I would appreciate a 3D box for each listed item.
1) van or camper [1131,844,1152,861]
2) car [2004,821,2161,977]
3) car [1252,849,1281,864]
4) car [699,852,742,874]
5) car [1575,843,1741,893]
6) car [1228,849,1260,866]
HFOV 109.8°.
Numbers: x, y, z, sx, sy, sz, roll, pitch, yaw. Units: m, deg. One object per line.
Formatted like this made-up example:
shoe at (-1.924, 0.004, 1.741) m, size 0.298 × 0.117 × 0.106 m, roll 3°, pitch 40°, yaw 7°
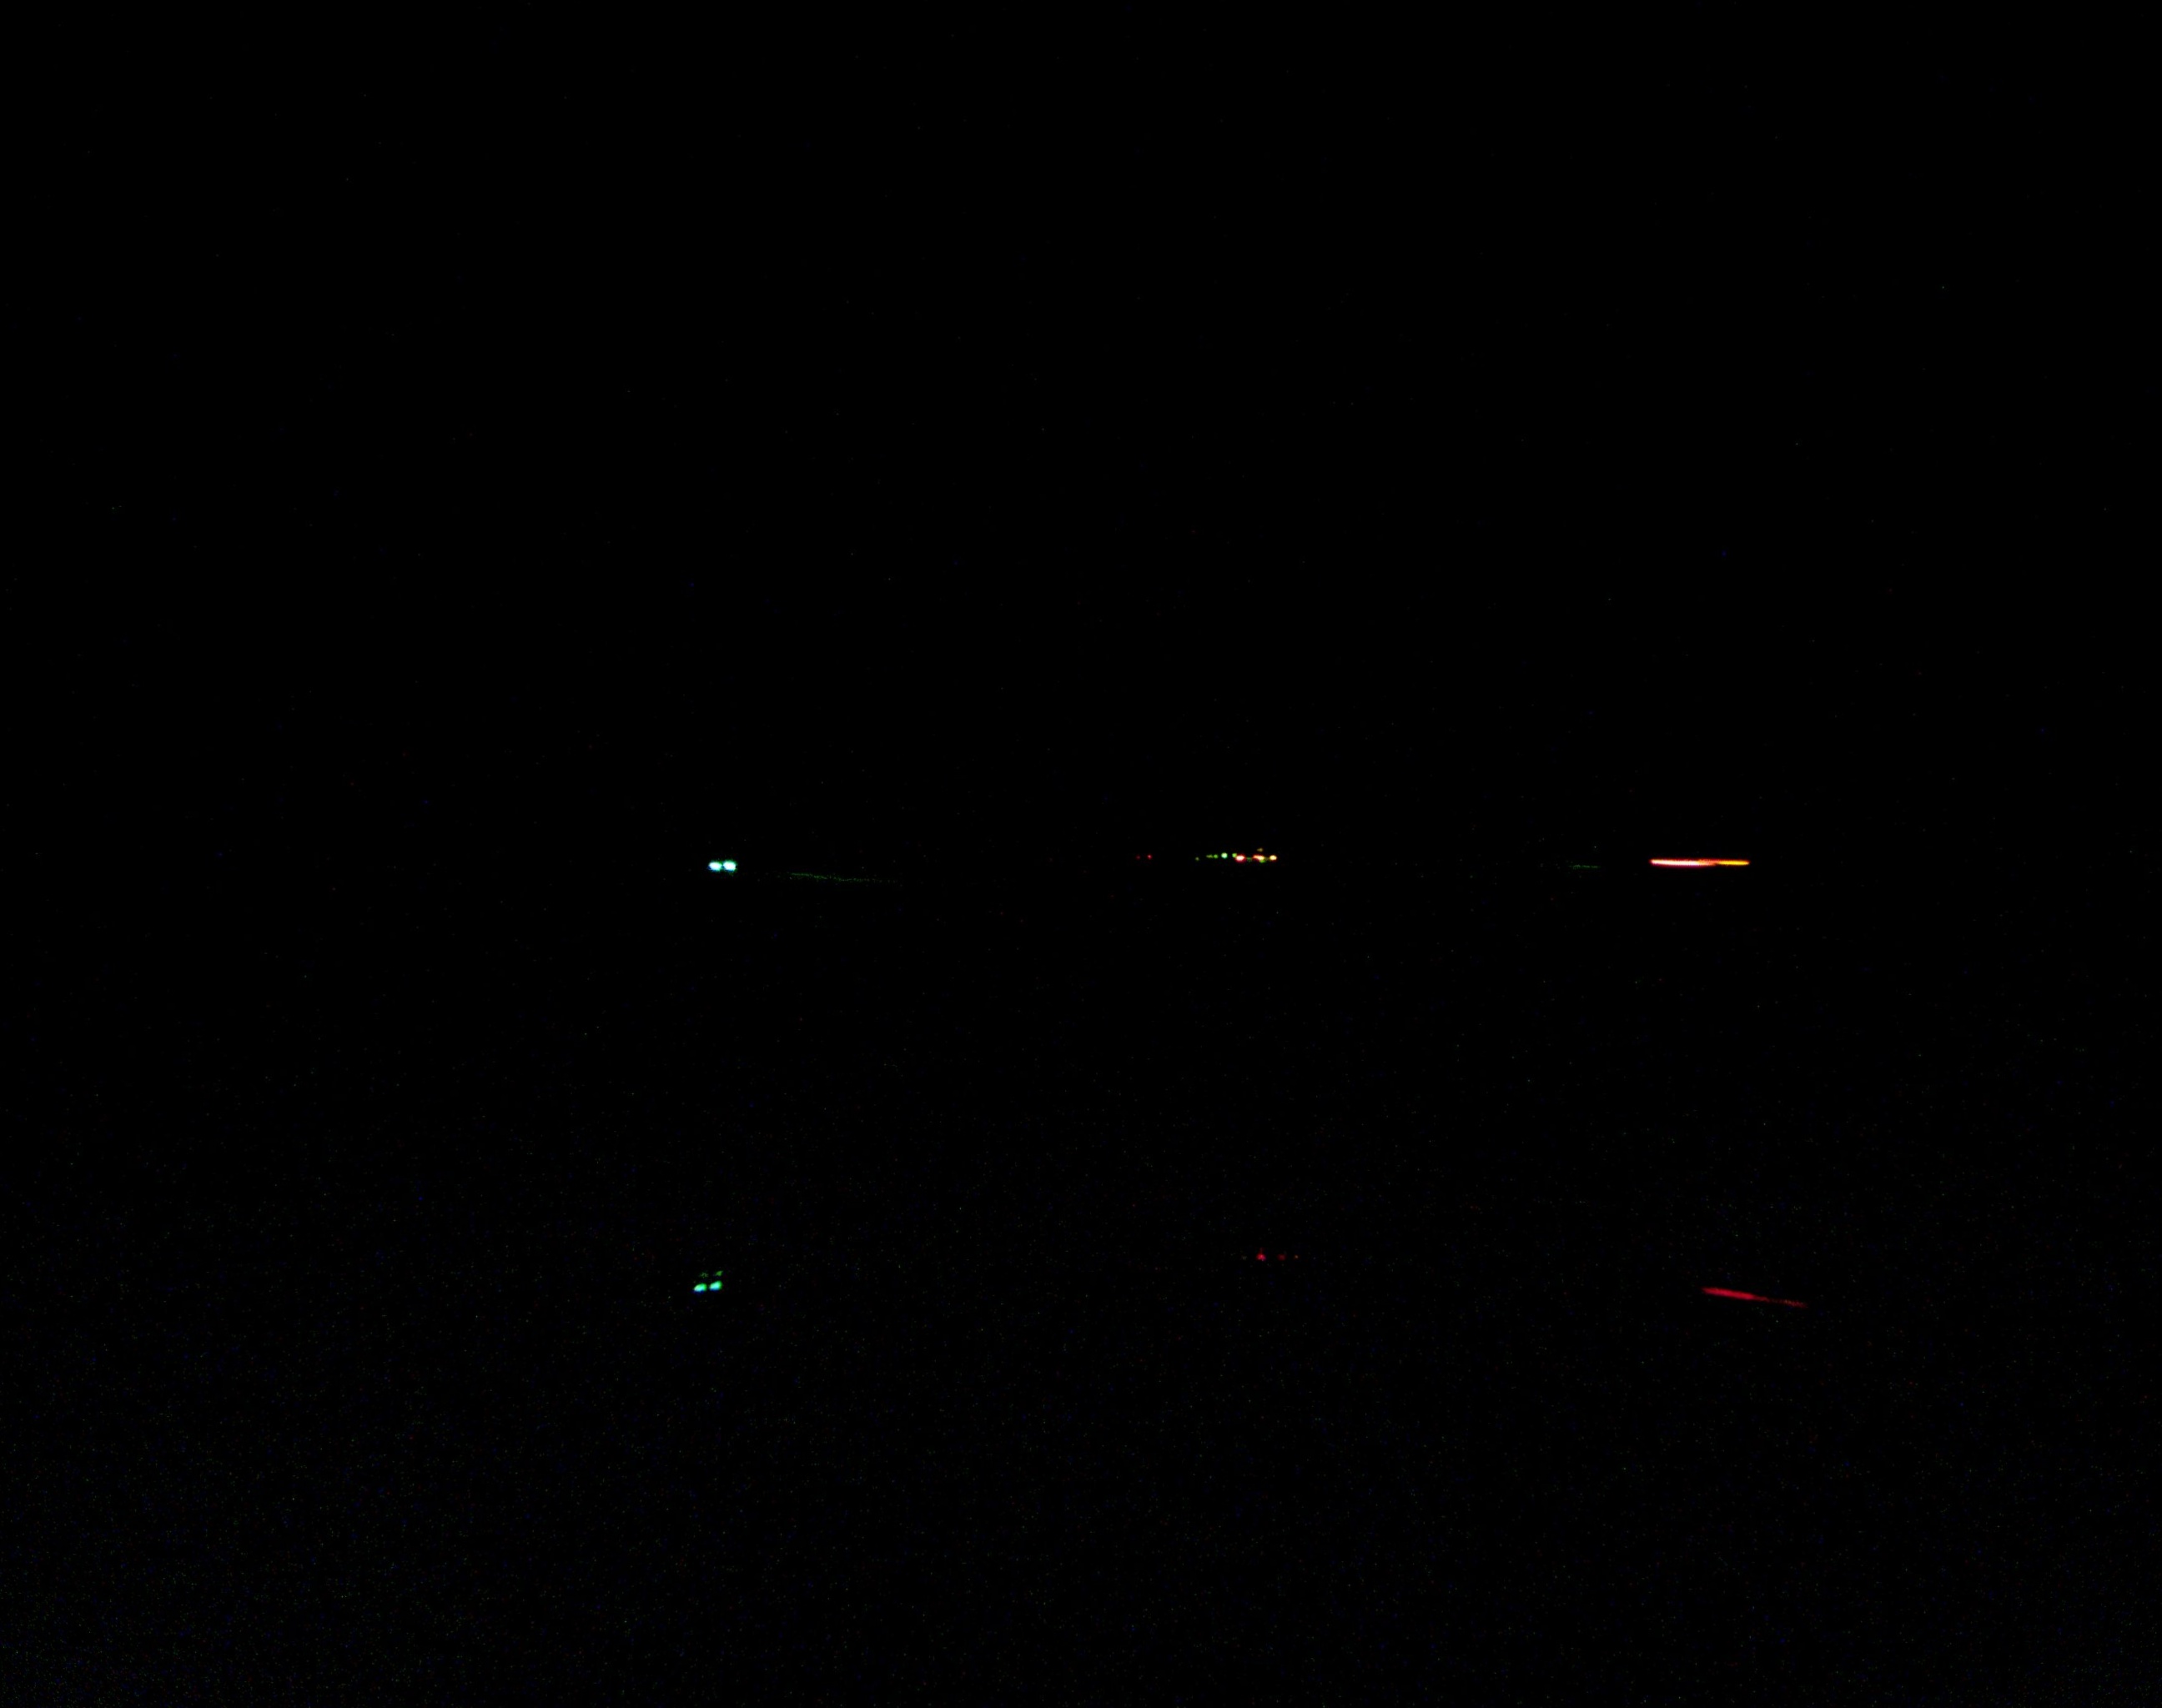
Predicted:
van or camper at (9.634, -0.307, 121.675) m, size 2.301 × 2.602 × 7.662 m, roll -1°, pitch 0°, yaw -4°
car at (12.919, 0.494, 7.324) m, size 1.962 × 1.723 × 5.079 m, roll -1°, pitch 0°, yaw 2°
car at (18.864, 0.272, 77.478) m, size 1.962 × 1.448 × 4.170 m, roll -1°, pitch 0°, yaw 2°
car at (-34.424, 0.865, 72.582) m, size 3.989 × 1.843 × 2.004 m, roll -3°, pitch 1°, yaw 38°
car at (19.013, 0.399, 25.369) m, size 1.776 × 1.403 × 4.843 m, roll -3°, pitch 1°, yaw -1°
car at (14.467, 0.271, 67.613) m, size 1.962 × 1.448 × 4.471 m, roll -1°, pitch 0°, yaw 2°
